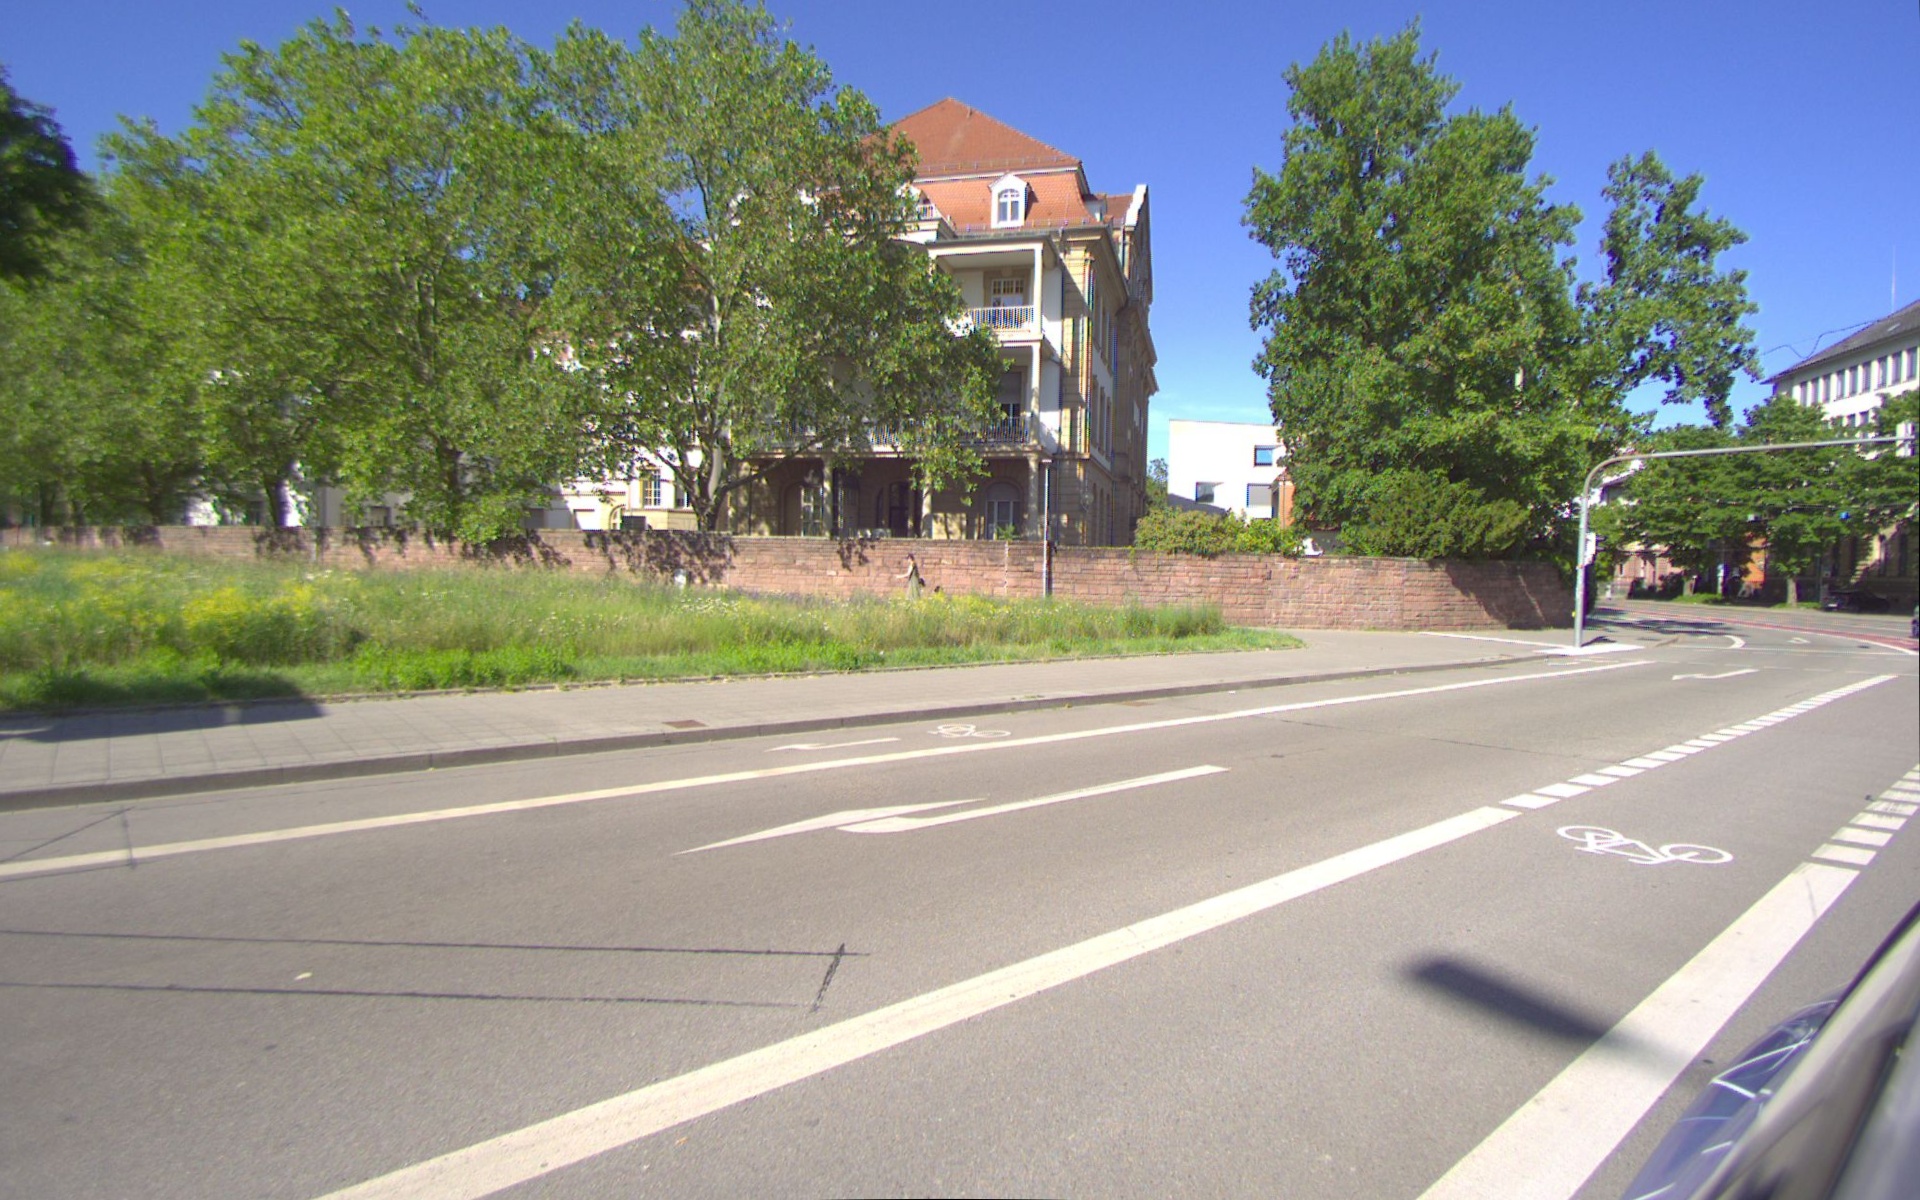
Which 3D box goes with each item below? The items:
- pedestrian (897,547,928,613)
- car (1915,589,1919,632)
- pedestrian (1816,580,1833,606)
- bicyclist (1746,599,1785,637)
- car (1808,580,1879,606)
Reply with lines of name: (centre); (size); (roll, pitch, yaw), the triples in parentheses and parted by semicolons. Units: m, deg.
pedestrian: (-1.373, -0.581, 29.362); (0.774, 1.881, 0.629); (1, 1, 10)
car: (35.590, 0.407, 35.157); (1.978, 1.610, 4.812); (0, 0, 24)
pedestrian: (65.934, -0.529, 77.179); (0.568, 1.927, 0.849); (1, 1, 12)
bicyclist: (34.537, 0.767, 43.397); (0.669, 1.559, 1.146); (1, 2, -6)
car: (60.196, -0.518, 69.017); (1.806, 1.615, 3.988); (2, 2, 11)
